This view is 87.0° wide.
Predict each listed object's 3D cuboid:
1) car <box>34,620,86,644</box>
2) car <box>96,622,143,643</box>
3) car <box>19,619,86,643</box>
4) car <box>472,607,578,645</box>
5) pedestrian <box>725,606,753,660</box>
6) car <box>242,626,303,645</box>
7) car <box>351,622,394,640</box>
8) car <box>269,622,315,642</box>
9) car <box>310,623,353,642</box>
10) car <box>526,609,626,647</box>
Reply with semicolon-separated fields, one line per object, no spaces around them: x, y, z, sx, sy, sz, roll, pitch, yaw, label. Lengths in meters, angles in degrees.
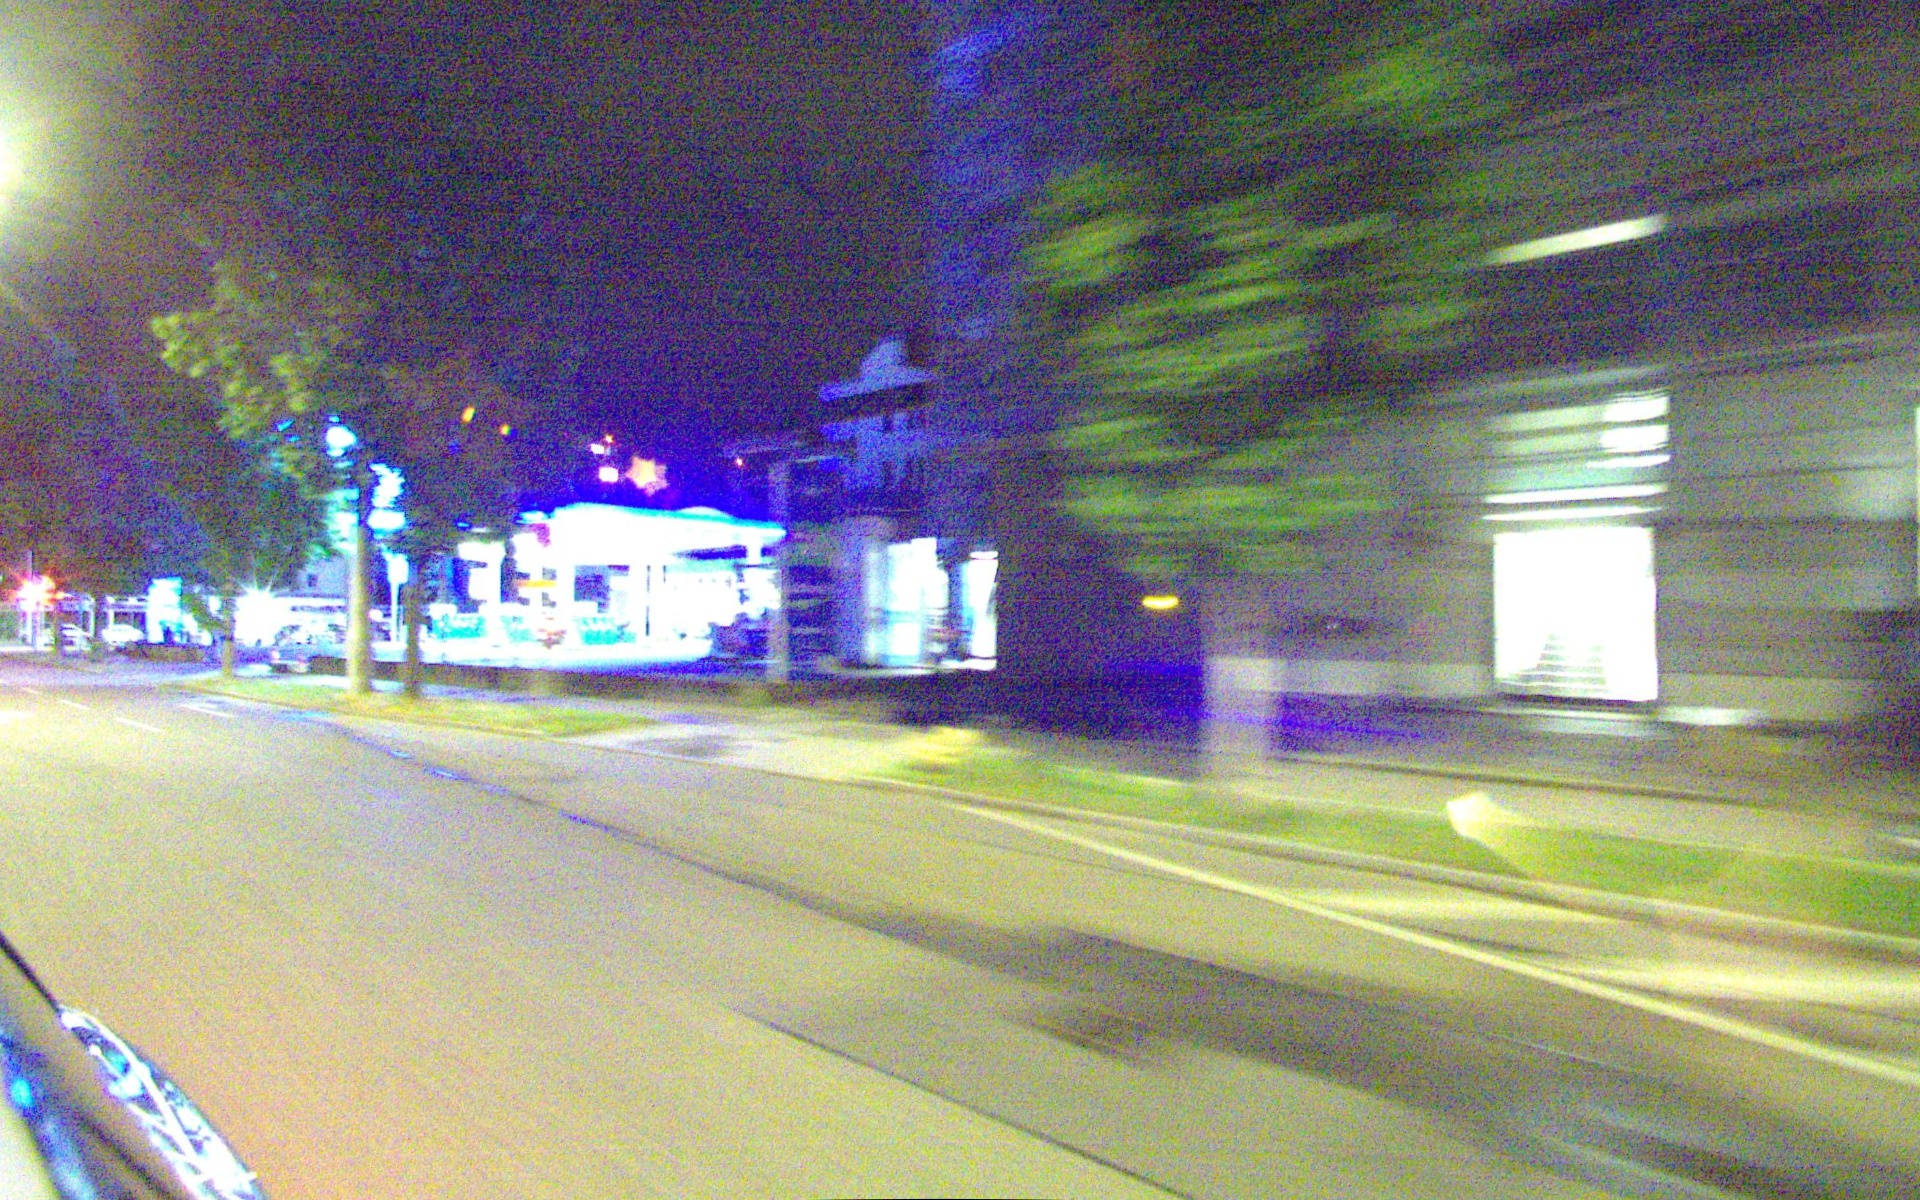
-61.120;2.169;68.717;4.383;1.569;1.974;-1;-1;40;car
-59.035;2.292;71.046;4.067;1.472;1.840;-2;-2;40;car
-68.685;2.349;76.607;1.633;1.712;3.529;-1;-3;40;car
-21.090;1.269;49.167;1.977;1.740;4.301;-2;-3;40;car
-6.628;0.980;30.359;0.642;1.618;0.569;-1;-1;39;pedestrian
-58.313;2.975;85.914;1.716;1.489;4.257;-1;-1;13;car
-48.485;2.556;83.516;4.083;1.489;1.840;-2;-1;40;car
-52.086;2.490;78.872;4.351;1.489;1.840;-1;-1;40;car
-50.172;2.578;80.764;4.083;1.489;1.710;-1;-2;40;car
-16.445;1.183;43.469;1.669;1.544;3.712;-1;-1;40;car
